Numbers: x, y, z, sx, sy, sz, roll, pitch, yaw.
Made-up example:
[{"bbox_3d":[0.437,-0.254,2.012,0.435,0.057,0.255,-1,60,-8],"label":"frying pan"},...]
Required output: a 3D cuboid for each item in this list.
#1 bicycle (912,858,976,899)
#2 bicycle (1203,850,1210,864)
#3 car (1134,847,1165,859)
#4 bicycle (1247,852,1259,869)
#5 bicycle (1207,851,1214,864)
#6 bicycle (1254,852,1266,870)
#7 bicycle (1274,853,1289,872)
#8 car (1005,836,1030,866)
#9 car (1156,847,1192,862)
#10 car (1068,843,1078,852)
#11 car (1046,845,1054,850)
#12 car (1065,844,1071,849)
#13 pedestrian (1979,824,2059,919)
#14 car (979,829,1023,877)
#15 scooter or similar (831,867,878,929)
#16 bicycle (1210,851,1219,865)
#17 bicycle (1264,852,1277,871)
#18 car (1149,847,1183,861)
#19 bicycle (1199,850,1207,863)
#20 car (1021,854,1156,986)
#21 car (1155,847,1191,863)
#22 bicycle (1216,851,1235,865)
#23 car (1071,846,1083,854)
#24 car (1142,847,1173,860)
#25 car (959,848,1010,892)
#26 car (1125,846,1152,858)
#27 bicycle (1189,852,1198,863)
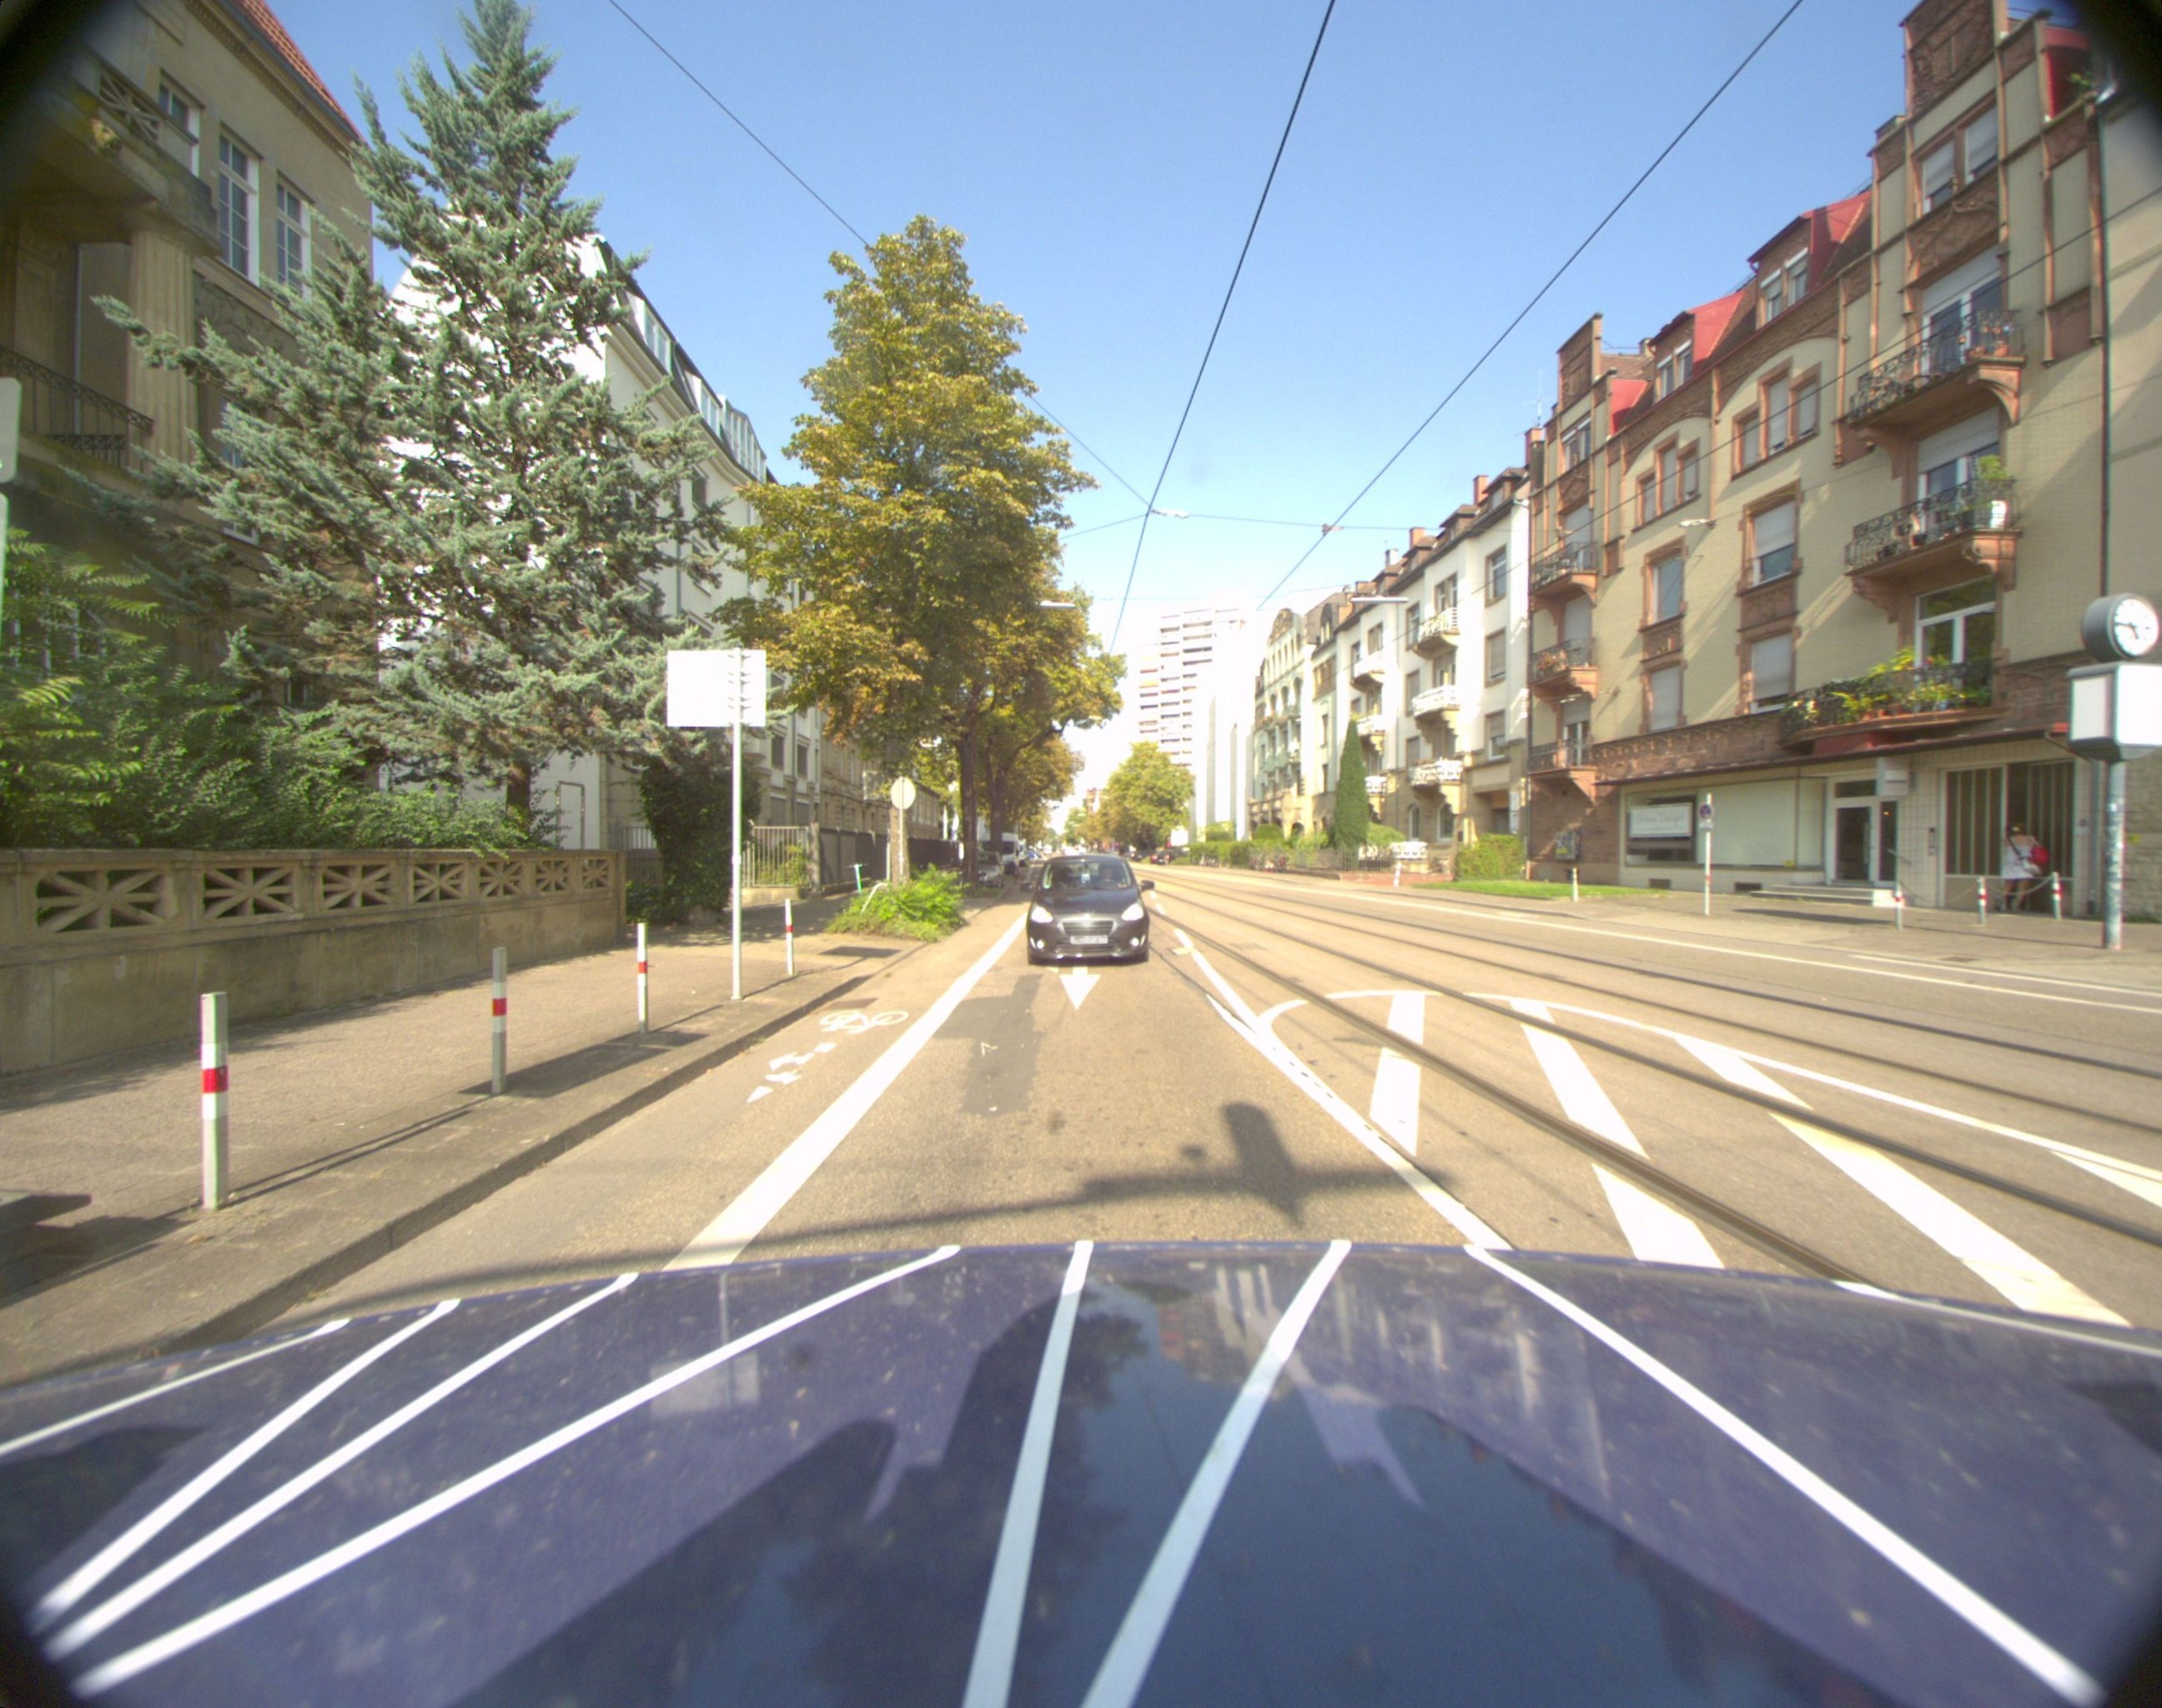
[{"bbox_3d":[-4.114,0.740,22.947,1.846,1.160,0.503,2,5,-43],"label":"bicycle"},{"bbox_3d":[10.235,0.260,61.951,0.425,1.081,1.677,0,1,6],"label":"bicycle"},{"bbox_3d":[8.394,-0.141,92.954,1.767,1.518,4.008,1,1,38],"label":"car"},{"bbox_3d":[11.107,0.395,49.063,0.371,1.081,1.354,0,1,-3],"label":"bicycle"},{"bbox_3d":[10.426,0.280,61.150,0.425,1.081,1.677,0,1,6],"label":"bicycle"},{"bbox_3d":[11.144,0.405,47.292,0.371,1.081,1.354,0,1,-3],"label":"bicycle"},{"bbox_3d":[11.285,0.467,42.762,0.371,1.081,1.487,0,1,-3],"label":"bicycle"},{"bbox_3d":[-5.753,-0.304,69.300,1.999,2.526,5.865,2,1,-2],"label":"car"},{"bbox_3d":[9.765,0.021,79.849,1.767,1.518,4.008,1,1,43],"label":"car"},{"bbox_3d":[-1.983,-1.560,180.881,2.000,2.002,4.856,0,1,-6],"label":"car"},{"bbox_3d":[-9.061,-1.841,220.012,2.000,1.572,4.156,0,1,-6],"label":"car"},{"bbox_3d":[-4.015,-2.274,235.492,1.701,1.395,4.643,-1,1,-4],"label":"car"},{"bbox_3d":[18.929,0.342,15.362,0.774,1.849,0.832,1,2,34],"label":"pedestrian"},{"bbox_3d":[-4.368,-0.075,42.367,2.051,2.484,6.226,1,1,-3],"label":"car"},{"bbox_3d":[-4.674,0.890,15.723,0.559,1.190,1.034,3,1,3],"label":"scooter or similar"},{"bbox_3d":[10.379,0.318,59.050,0.425,1.081,1.676,0,1,1],"label":"bicycle"},{"bbox_3d":[11.110,0.440,44.530,0.371,1.081,1.354,0,1,-3],"label":"bicycle"},{"bbox_3d":[9.278,-0.007,82.670,1.767,1.518,4.008,1,1,38],"label":"car"},{"bbox_3d":[10.258,0.235,63.964,0.425,1.081,1.676,0,1,-1],"label":"bicycle"},{"bbox_3d":[-0.015,0.803,11.428,1.611,1.515,4.355,-1,1,-3],"label":"car"},{"bbox_3d":[9.256,0.101,76.034,1.767,1.518,4.008,1,1,38],"label":"car"},{"bbox_3d":[11.047,0.298,58.076,1.397,1.081,0.425,0,1,-20],"label":"bicycle"},{"bbox_3d":[-0.790,-0.784,149.160,1.878,1.446,4.542,2,0,-6],"label":"car"},{"bbox_3d":[9.104,-0.084,90.133,1.767,1.518,4.008,1,1,38],"label":"car"},{"bbox_3d":[-3.824,0.583,30.655,1.611,1.515,4.355,3,1,-3],"label":"car"},{"bbox_3d":[7.718,-0.273,101.777,1.767,1.518,4.008,1,1,38],"label":"car"},{"bbox_3d":[9.976,0.292,67.288,0.425,0.972,1.769,0,1,-4],"label":"bicycle"}]
